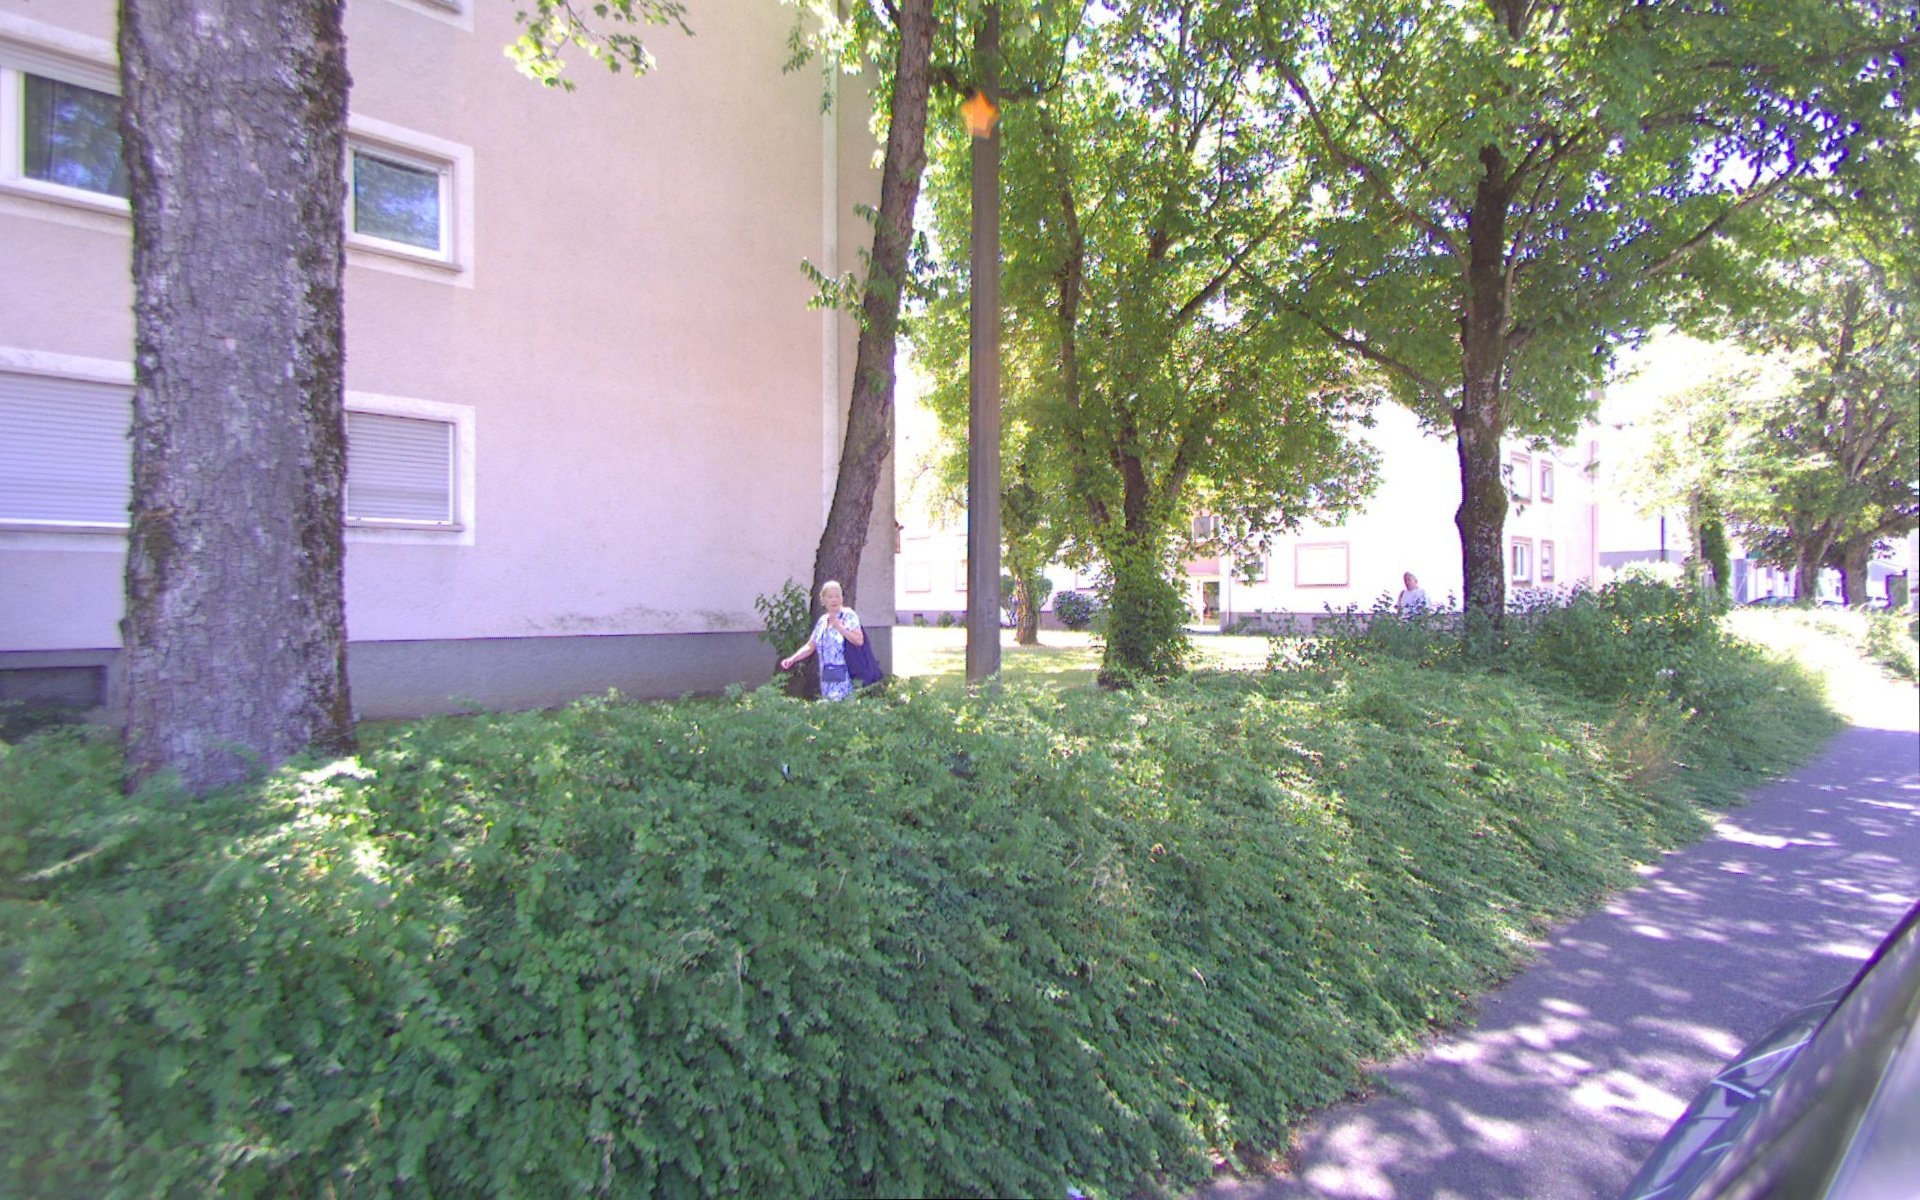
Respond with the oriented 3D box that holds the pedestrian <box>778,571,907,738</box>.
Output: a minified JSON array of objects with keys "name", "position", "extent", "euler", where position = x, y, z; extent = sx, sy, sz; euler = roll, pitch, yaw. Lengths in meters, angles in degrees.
[{"name":"pedestrian","position":[-1.010,0.432,8.729],"extent":[0.873,1.351,0.662],"euler":[-1,0,-41]}]

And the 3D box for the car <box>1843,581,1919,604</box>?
[{"name":"car","position":[70.981,-0.589,77.553],"extent":[1.958,1.662,4.606],"euler":[-1,1,-21]}]

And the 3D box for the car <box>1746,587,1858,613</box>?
[{"name":"car","position":[45.610,-0.012,54.972],"extent":[4.315,1.388,1.937],"euler":[0,1,27]}]

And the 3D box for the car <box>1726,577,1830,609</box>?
[{"name":"car","position":[42.851,-0.389,53.053],"extent":[1.766,1.569,3.994],"euler":[-1,2,-41]}]

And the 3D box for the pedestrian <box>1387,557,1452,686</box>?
[{"name":"pedestrian","position":[7.116,0.314,15.679],"extent":[0.648,1.938,0.705],"euler":[0,0,-38]}]

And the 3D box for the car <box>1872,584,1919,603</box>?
[{"name":"car","position":[76.422,-0.557,81.538],"extent":[1.768,1.479,4.007],"euler":[-1,1,-25]}]
